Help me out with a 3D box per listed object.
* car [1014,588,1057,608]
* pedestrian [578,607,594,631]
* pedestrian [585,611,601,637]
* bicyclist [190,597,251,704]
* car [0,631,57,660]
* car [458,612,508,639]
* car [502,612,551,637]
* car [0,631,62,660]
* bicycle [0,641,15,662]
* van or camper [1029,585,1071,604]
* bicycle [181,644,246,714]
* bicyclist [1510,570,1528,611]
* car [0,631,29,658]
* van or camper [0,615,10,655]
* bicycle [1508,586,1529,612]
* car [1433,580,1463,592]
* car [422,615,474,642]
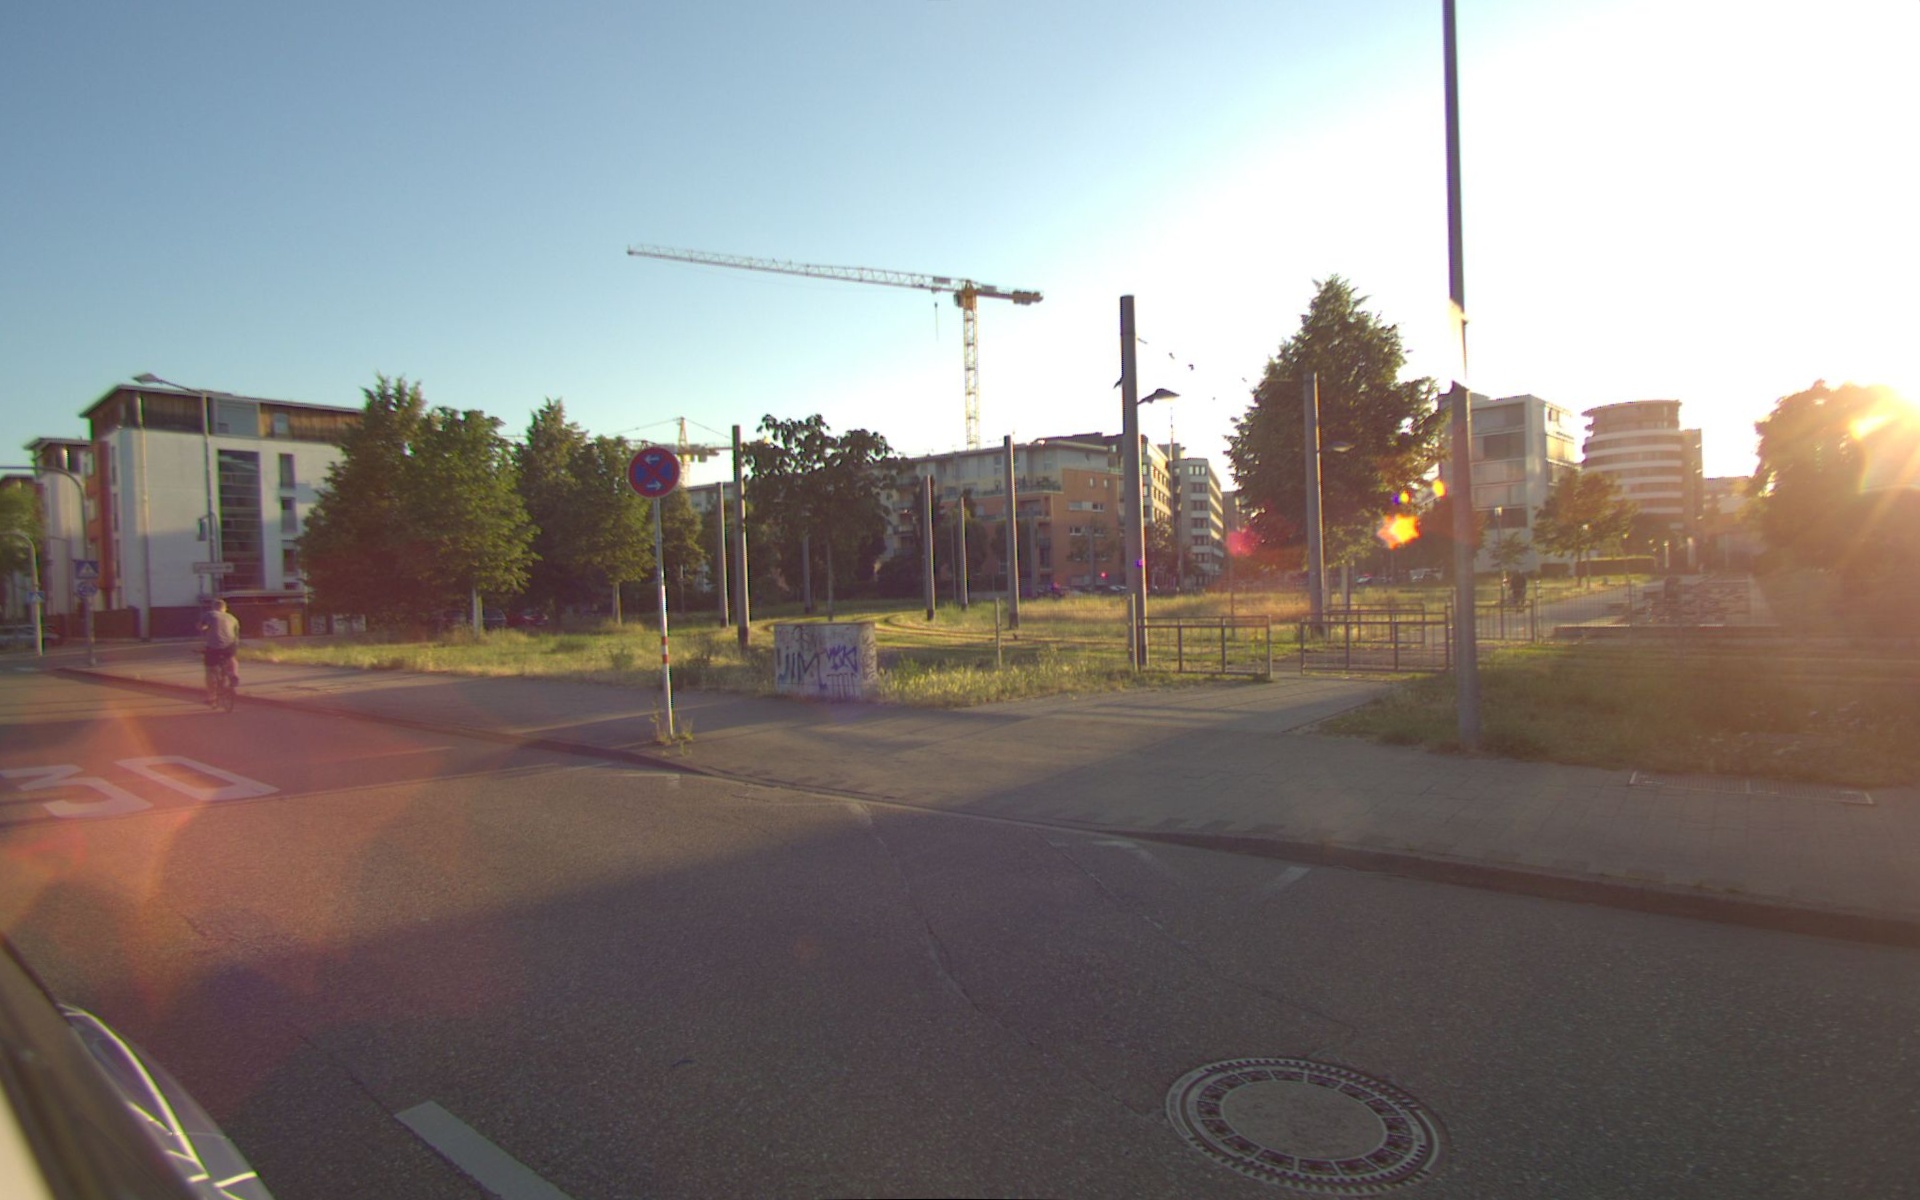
[{"bbox_3d":[7.464,-0.202,100.177,3.874,1.707,1.681,-3,-1,38],"label":"car"},{"bbox_3d":[-25.995,1.321,70.260,0.654,1.611,0.706,-2,2,29],"label":"pedestrian"},{"bbox_3d":[-25.374,1.655,69.932,0.622,1.679,0.736,-2,2,31],"label":"pedestrian"},{"bbox_3d":[-12.146,0.822,16.613,1.036,1.675,0.608,-3,-1,44],"label":"bicyclist"},{"bbox_3d":[-56.461,2.784,59.434,1.709,1.489,4.856,-3,1,38],"label":"car"},{"bbox_3d":[-29.259,1.550,62.045,3.411,1.511,1.572,-1,1,43],"label":"car"},{"bbox_3d":[-27.324,1.538,63.752,3.411,1.511,1.572,-1,1,43],"label":"car"},{"bbox_3d":[-54.422,2.642,57.982,1.678,1.468,4.239,-3,0,38],"label":"car"},{"bbox_3d":[-53.142,2.896,55.511,0.566,1.074,1.800,-3,3,38],"label":"bicycle"},{"bbox_3d":[9.036,-0.506,101.834,3.878,1.707,1.809,-3,-1,42],"label":"van or camper"},{"bbox_3d":[-12.195,1.270,16.517,1.925,1.051,0.532,-3,-1,45],"label":"bicycle"},{"bbox_3d":[20.919,-0.374,37.875,0.424,1.506,0.507,-3,-1,41],"label":"bicyclist"},{"bbox_3d":[-60.856,2.915,62.424,1.755,1.596,4.704,-3,1,37],"label":"car"},{"bbox_3d":[-77.777,2.885,77.984,2.438,3.110,6.241,-3,0,36],"label":"van or camper"},{"bbox_3d":[20.849,-0.032,37.778,0.431,0.907,1.219,-3,-1,40],"label":"bicycle"},{"bbox_3d":[76.362,-2.247,158.464,3.877,1.625,1.680,-3,-1,41],"label":"car"},{"bbox_3d":[-30.711,1.704,60.685,3.411,1.533,1.667,-1,1,43],"label":"car"}]
